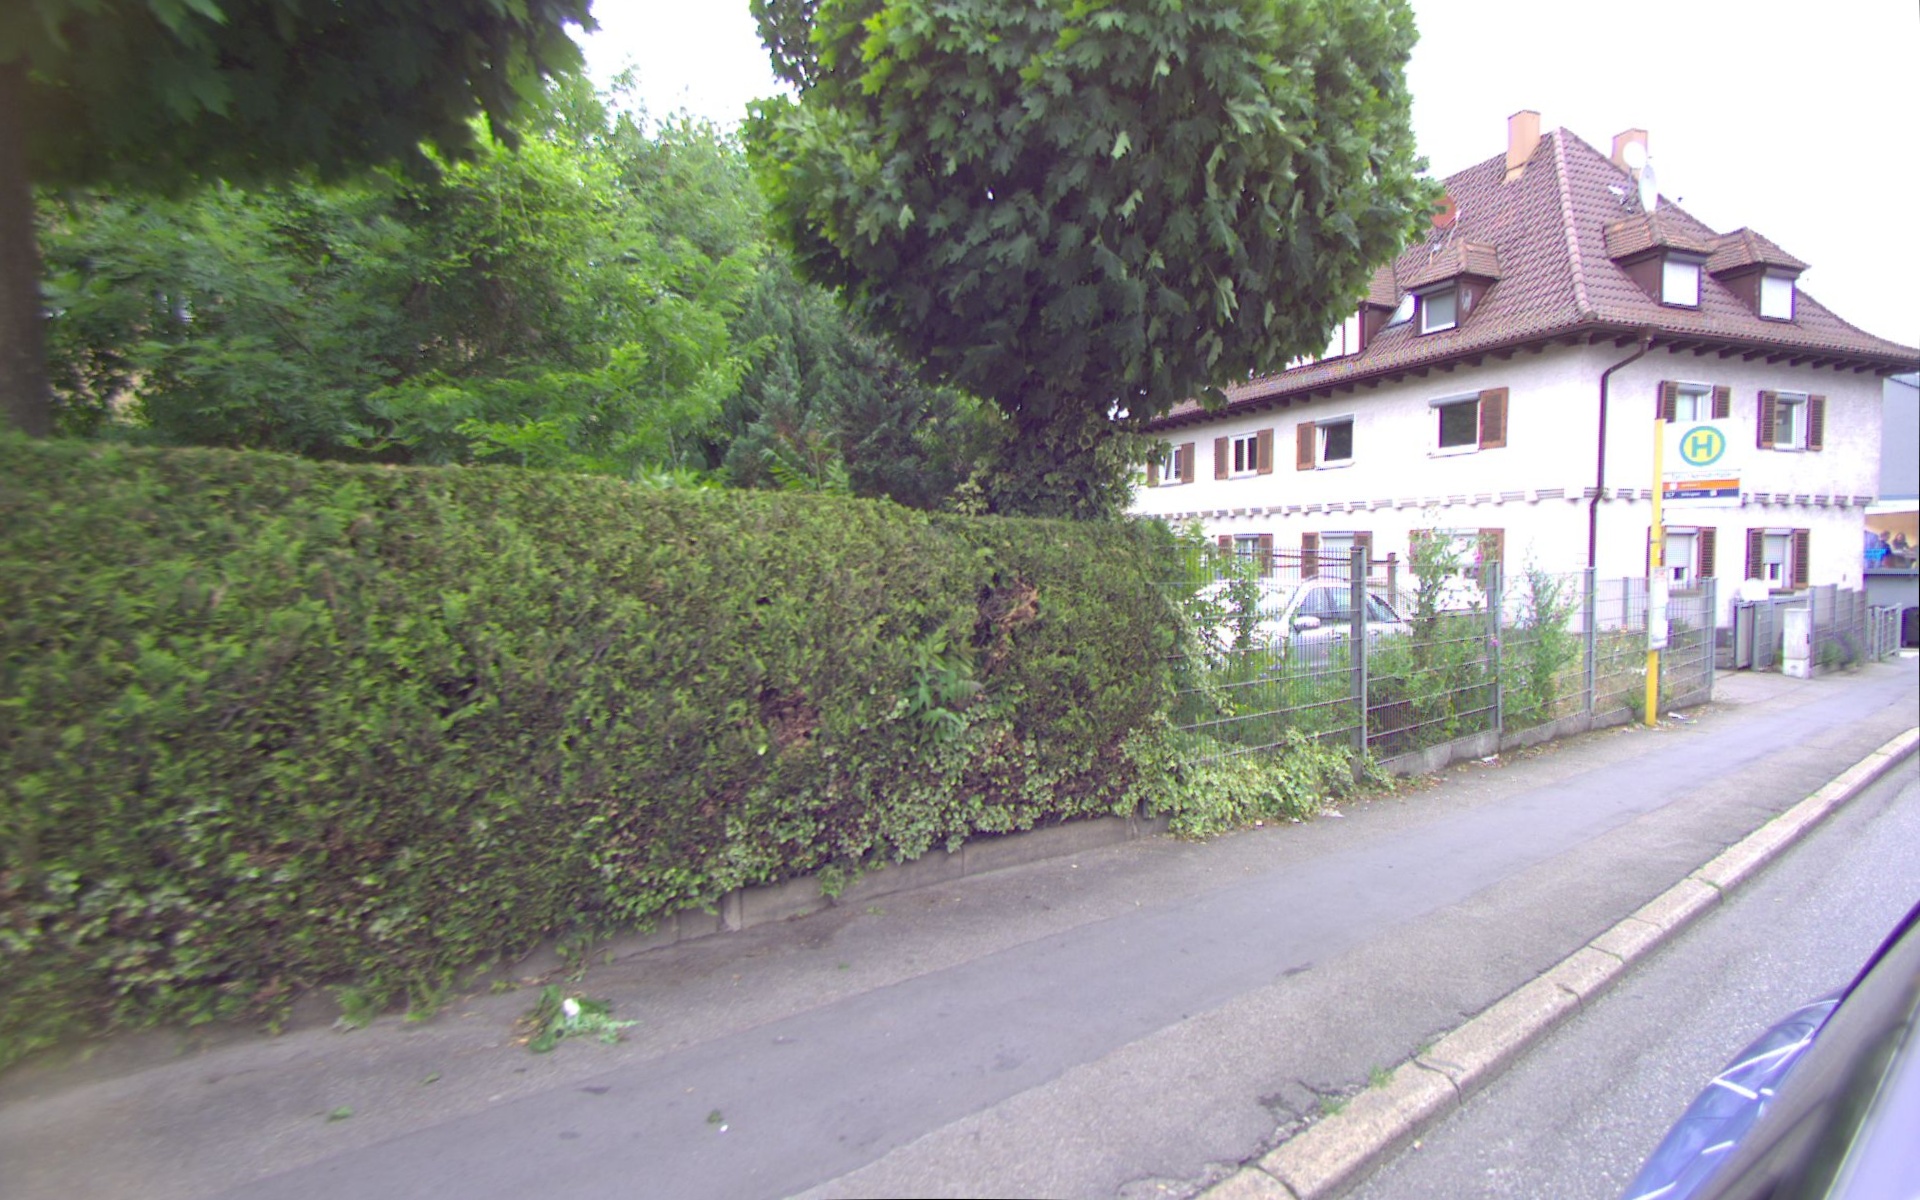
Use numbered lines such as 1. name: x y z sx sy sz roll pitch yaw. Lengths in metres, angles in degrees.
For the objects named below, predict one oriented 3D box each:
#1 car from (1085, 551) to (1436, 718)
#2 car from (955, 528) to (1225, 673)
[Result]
1. car: 3.405 0.284 11.000 4.194 1.439 1.801 1 2 -44
2. car: 1.906 -0.016 15.914 3.924 2.039 2.000 1 1 0
